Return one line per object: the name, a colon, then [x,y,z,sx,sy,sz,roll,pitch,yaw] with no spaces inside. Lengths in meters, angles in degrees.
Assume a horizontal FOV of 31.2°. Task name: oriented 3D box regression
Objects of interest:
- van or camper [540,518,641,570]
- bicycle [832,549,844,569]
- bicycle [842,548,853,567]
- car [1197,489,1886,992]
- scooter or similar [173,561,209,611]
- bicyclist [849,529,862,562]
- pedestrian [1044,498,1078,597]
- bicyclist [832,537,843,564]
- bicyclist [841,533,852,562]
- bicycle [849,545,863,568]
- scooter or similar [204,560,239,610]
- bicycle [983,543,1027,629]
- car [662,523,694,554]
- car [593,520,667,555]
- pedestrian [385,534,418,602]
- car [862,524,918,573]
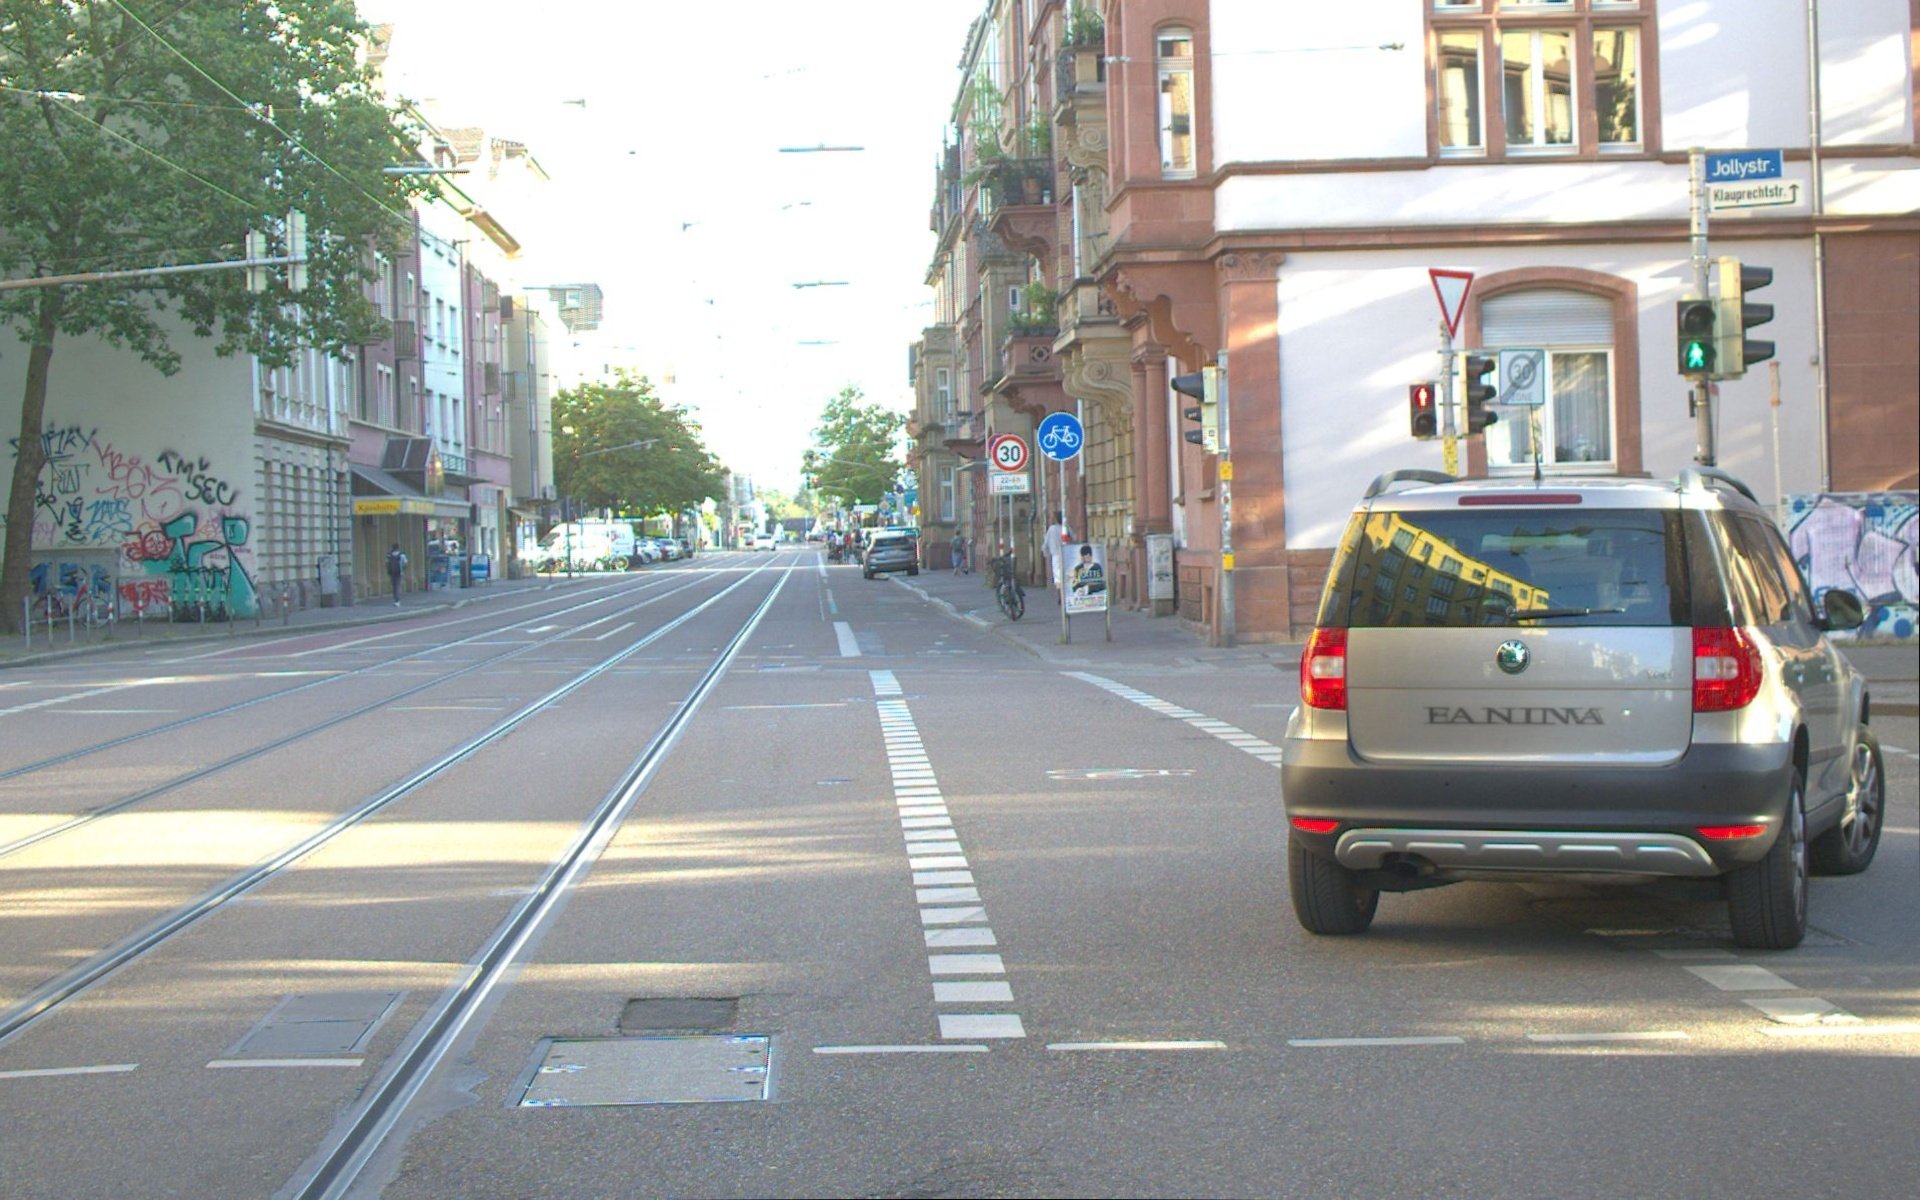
van or camper: [-18.688,-2.827,174.034,4.635,2.554,2.000,-1,1,-33]
bicycle: [-6.621,-2.237,186.295,0.575,1.026,1.895,-2,1,-1]
bicycle: [-6.503,-2.459,198.136,0.575,1.026,1.895,-2,1,-1]
car: [2.398,0.409,13.255,1.995,1.612,3.996,1,1,19]
scooter or similar: [-16.773,-0.310,75.019,0.516,1.042,1.478,-2,1,-4]
bicyclist: [-4.834,-2.526,159.309,0.575,1.548,0.595,-2,1,-1]
pedestrian: [1.830,-0.955,62.150,0.544,1.774,0.504,-2,1,-1]
bicyclist: [-6.640,-2.682,186.281,0.575,1.489,0.795,-2,1,-1]
bicyclist: [-6.528,-3.041,198.112,0.575,1.673,0.795,-2,1,-1]
bicycle: [-4.817,-2.029,159.323,0.575,1.026,1.895,-2,1,-1]
scooter or similar: [-16.114,-0.329,75.075,0.516,1.053,1.478,-2,1,-4]
bicycle: [0.712,-0.241,55.037,0.653,1.319,2.177,-2,1,0]
car: [-19.308,-4.227,235.631,1.993,2.007,4.001,-2,1,-3]
car: [-20.115,-3.795,209.344,3.986,2.007,2.000,-2,1,-27]
pedestrian: [-14.303,-0.830,87.991,0.701,1.722,0.648,-2,1,-2]
car: [-2.534,-1.865,124.316,1.950,1.678,4.000,-2,1,-1]
